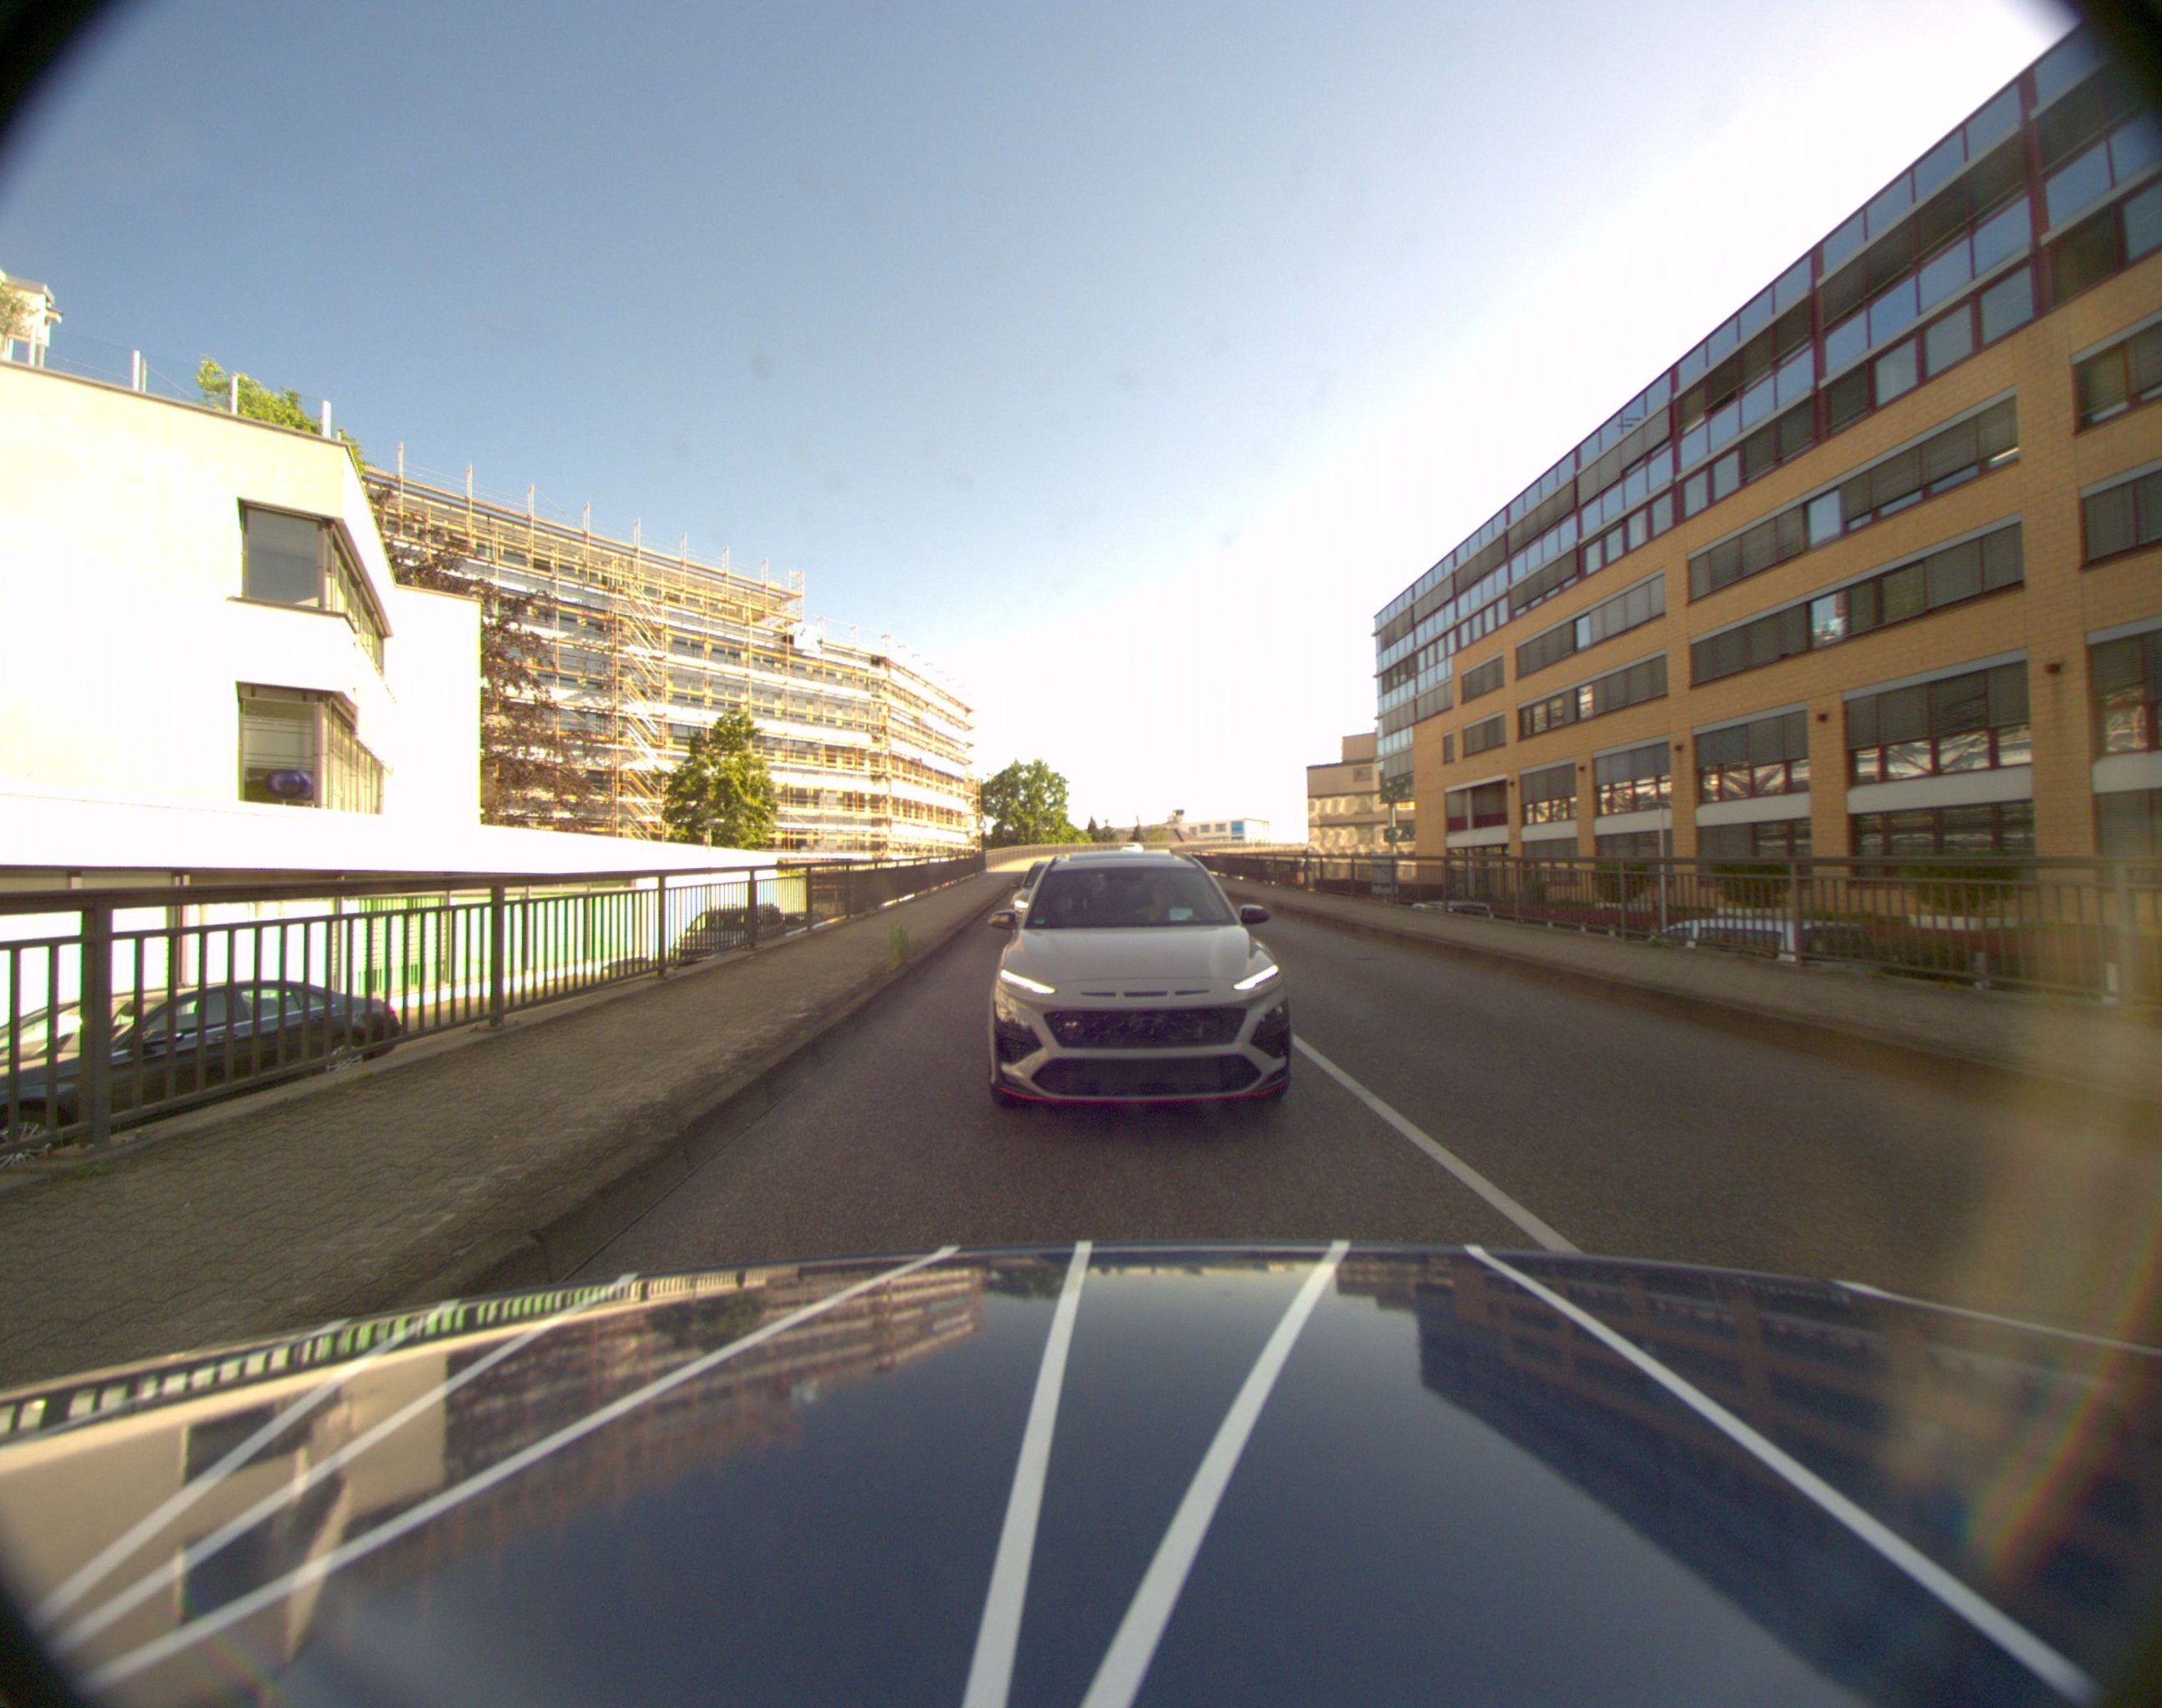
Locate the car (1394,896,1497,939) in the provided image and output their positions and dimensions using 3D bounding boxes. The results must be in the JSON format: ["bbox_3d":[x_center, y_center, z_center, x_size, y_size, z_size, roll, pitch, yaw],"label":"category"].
[{"bbox_3d":[12.747,2.194,26.828,1.766,1.261,3.809,0,-1,-1],"label":"car"}]

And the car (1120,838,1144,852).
[{"bbox_3d":[6.226,-1.100,92.558,1.948,1.456,4.005,4,3,19],"label":"car"}]

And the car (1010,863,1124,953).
[{"bbox_3d":[-0.281,0.932,14.738,1.902,1.433,4.126,0,0,-1],"label":"car"}]

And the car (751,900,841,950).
[{"bbox_3d":[-10.085,2.477,27.214,1.726,1.383,4.000,-2,-1,-1],"label":"car"}]

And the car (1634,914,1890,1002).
[{"bbox_3d":[13.054,1.938,14.921,1.580,1.261,3.809,0,-1,-1],"label":"car"}]

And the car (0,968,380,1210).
[{"bbox_3d":[-9.590,2.165,7.415,1.726,1.513,4.001,-2,-1,1],"label":"car"}]

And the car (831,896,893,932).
[{"bbox_3d":[-10.208,2.773,35.674,1.726,1.383,4.000,-2,-1,-1],"label":"car"}]

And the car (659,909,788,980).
[{"bbox_3d":[-9.903,2.470,21.426,1.726,1.513,4.000,-2,-1,-1],"label":"car"}]

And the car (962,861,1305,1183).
[{"bbox_3d":[0.295,0.885,5.891,1.749,1.637,4.001,0,-1,1],"label":"car"}]
